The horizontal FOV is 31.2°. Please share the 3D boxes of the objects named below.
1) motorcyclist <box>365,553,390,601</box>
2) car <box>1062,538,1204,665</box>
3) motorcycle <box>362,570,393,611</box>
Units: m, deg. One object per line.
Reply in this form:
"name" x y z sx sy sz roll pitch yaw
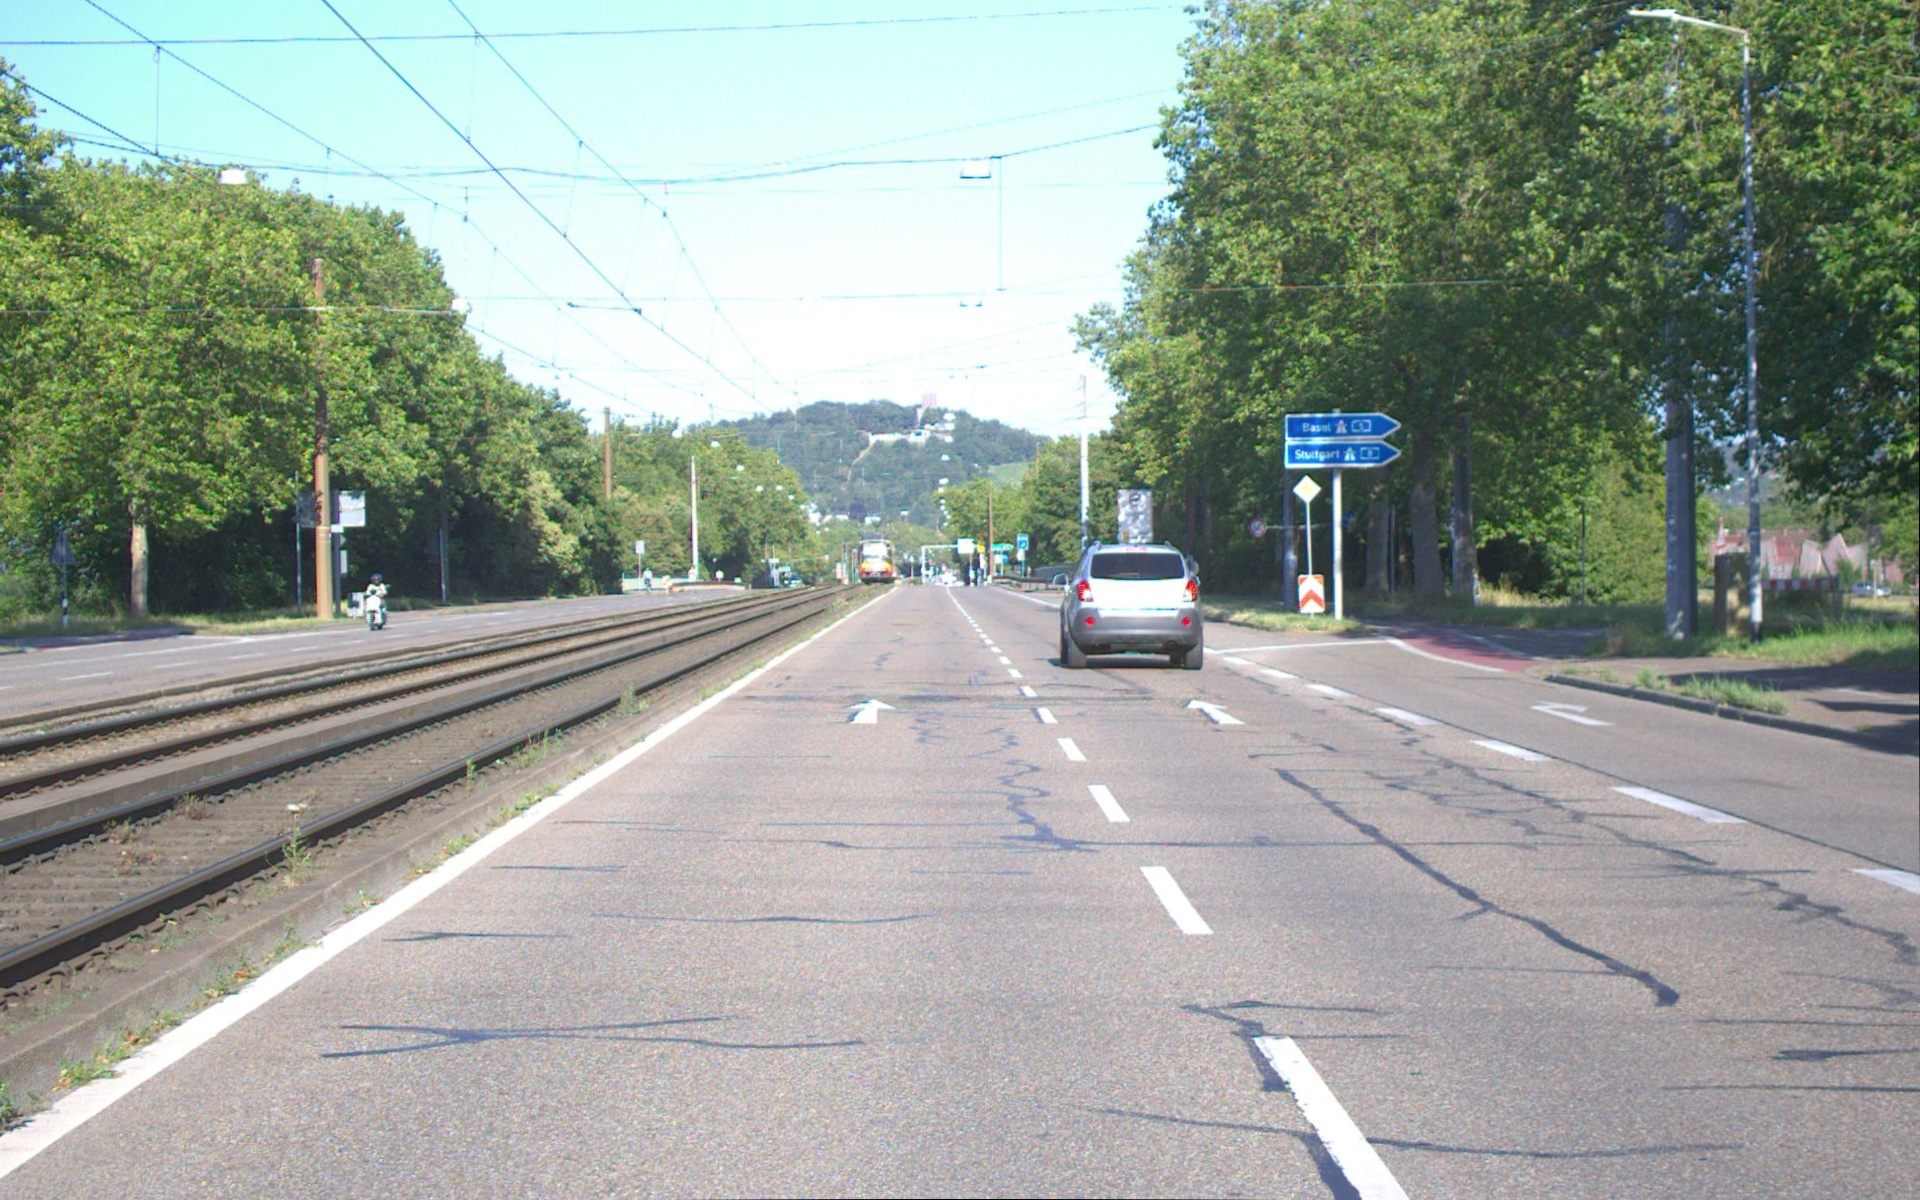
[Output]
"motorcyclist" -15.811 -0.622 93.344 0.535 1.266 0.805 1 0 -1
"car" 2.368 0.004 47.853 1.888 1.688 4.256 0 0 2
"motorcycle" -15.818 -0.251 93.367 0.535 1.087 1.902 1 0 -1
